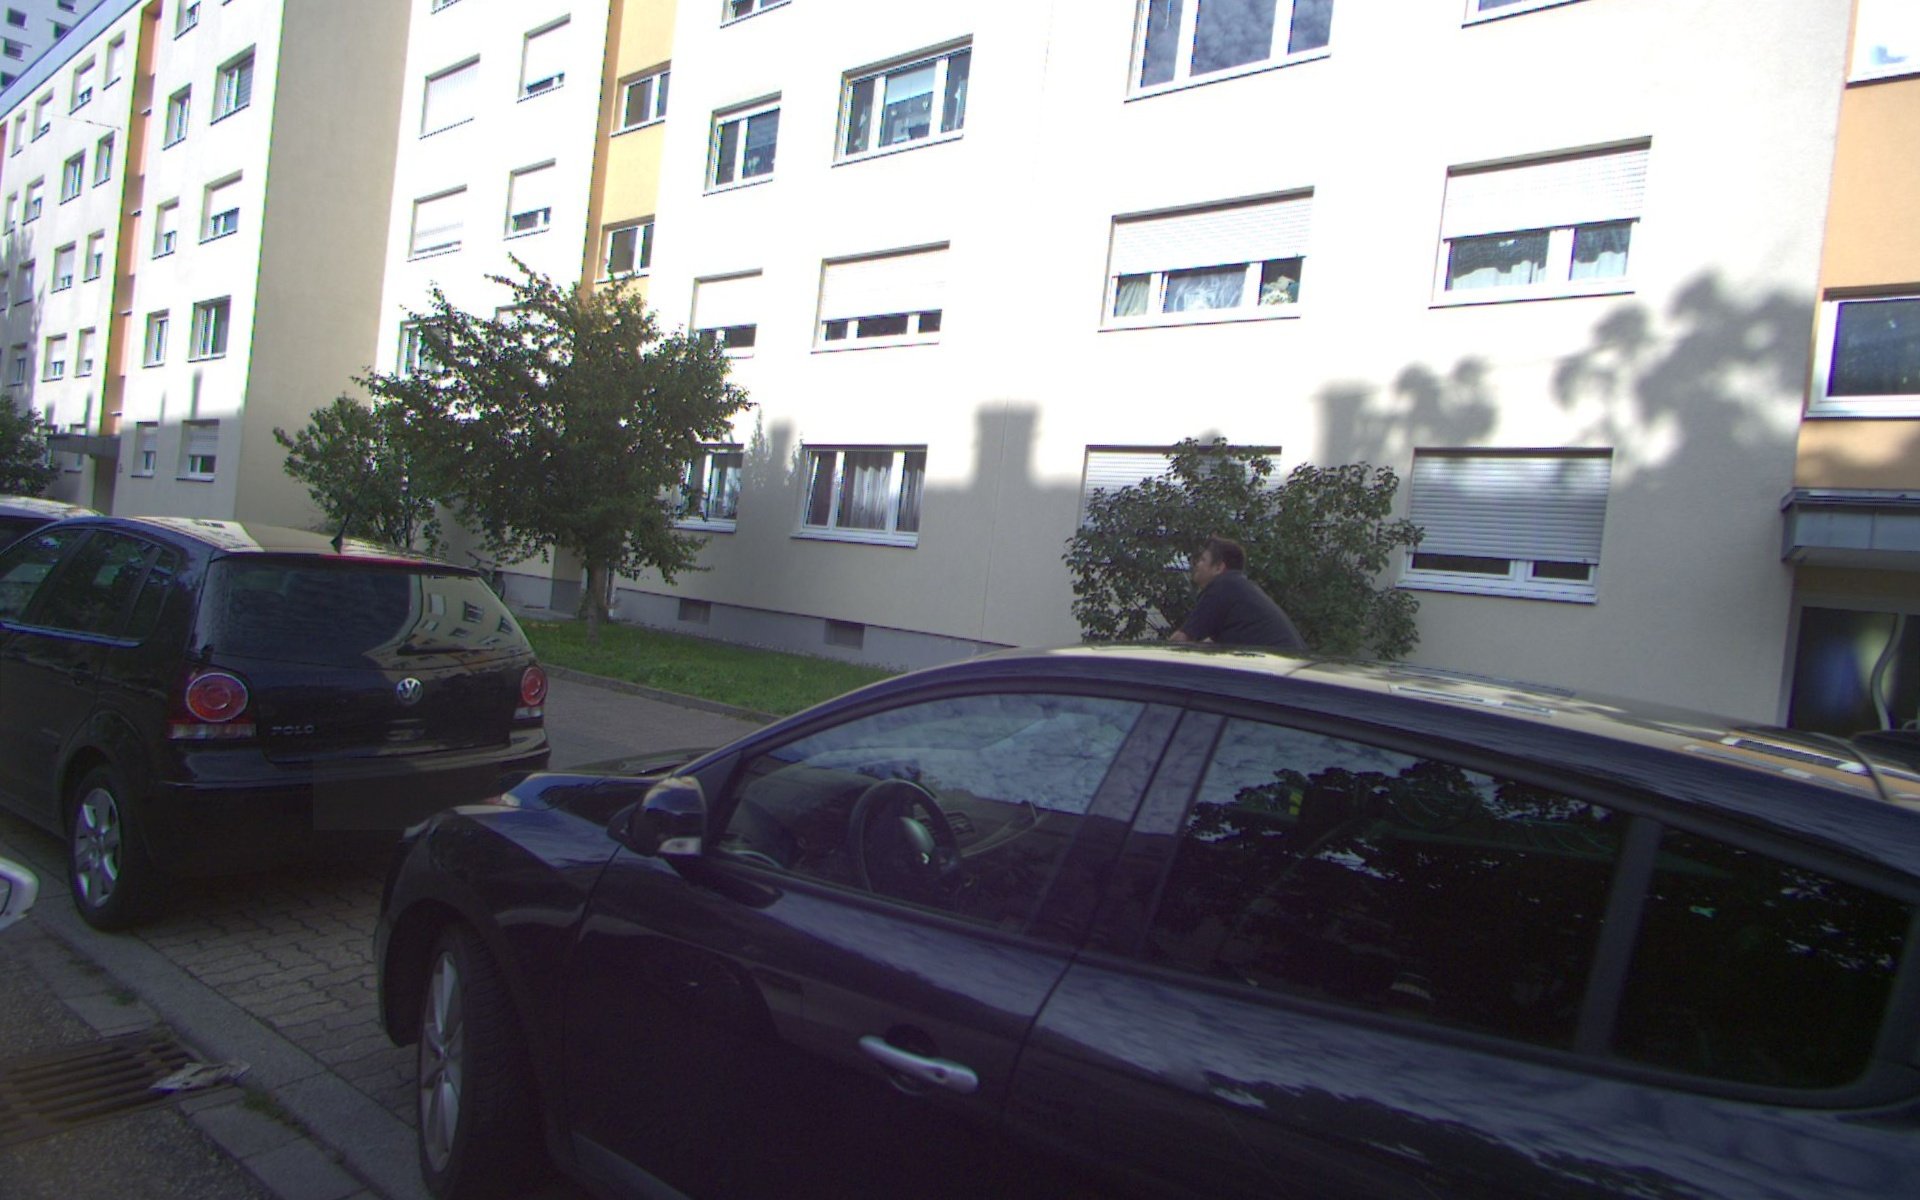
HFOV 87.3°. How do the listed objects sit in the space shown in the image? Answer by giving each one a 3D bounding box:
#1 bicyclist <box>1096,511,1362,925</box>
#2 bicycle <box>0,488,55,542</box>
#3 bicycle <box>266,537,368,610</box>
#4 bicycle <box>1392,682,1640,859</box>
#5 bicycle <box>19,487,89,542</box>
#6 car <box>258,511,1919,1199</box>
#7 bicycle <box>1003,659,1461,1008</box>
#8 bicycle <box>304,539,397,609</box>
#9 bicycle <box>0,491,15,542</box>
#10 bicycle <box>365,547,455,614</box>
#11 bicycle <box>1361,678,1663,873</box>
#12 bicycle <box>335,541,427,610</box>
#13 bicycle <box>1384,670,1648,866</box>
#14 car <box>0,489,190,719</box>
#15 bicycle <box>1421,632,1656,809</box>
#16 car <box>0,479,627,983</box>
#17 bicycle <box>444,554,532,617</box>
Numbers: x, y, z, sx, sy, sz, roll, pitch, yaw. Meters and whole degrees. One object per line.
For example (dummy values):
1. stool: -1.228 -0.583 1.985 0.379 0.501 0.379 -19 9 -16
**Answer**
1. bicyclist: 1.261 0.499 4.708 0.878 1.699 0.624 7 1 32
2. bicycle: -26.027 -2.388 27.851 2.592 1.307 0.727 7 1 33
3. bicycle: -10.908 -0.464 17.036 2.084 1.044 0.593 7 3 32
4. bicycle: 4.294 1.273 7.842 1.565 1.088 0.521 5 1 32
5. bicycle: -25.687 -2.432 28.496 2.592 1.306 0.727 7 -1 33
6. car: 0.316 0.736 2.212 4.140 1.454 1.683 7 1 35
7. bicycle: 1.214 0.979 4.728 1.897 1.149 0.524 7 0 32
8. bicycle: -10.676 -0.465 17.594 2.061 1.044 0.501 7 3 32
9. bicycle: -26.422 -2.320 27.239 2.592 1.308 0.595 7 3 33
10. bicycle: -10.111 -0.375 18.459 1.993 1.044 0.501 7 3 32
11. bicycle: 3.711 1.132 6.854 1.665 1.010 0.596 5 -1 32
12. bicycle: -10.395 -0.449 18.033 2.035 1.044 0.501 7 3 32
13. bicycle: 4.022 1.172 7.358 1.565 1.151 0.445 5 1 32
14. car: -7.880 -0.161 7.686 4.109 1.482 1.701 7 1 31
15. bicycle: 4.784 0.956 8.395 1.565 1.231 0.521 5 1 32
16. car: -3.628 0.301 4.859 3.809 1.520 1.685 7 1 32
17. bicycle: -9.233 -0.294 19.624 2.100 1.045 0.501 7 4 34
